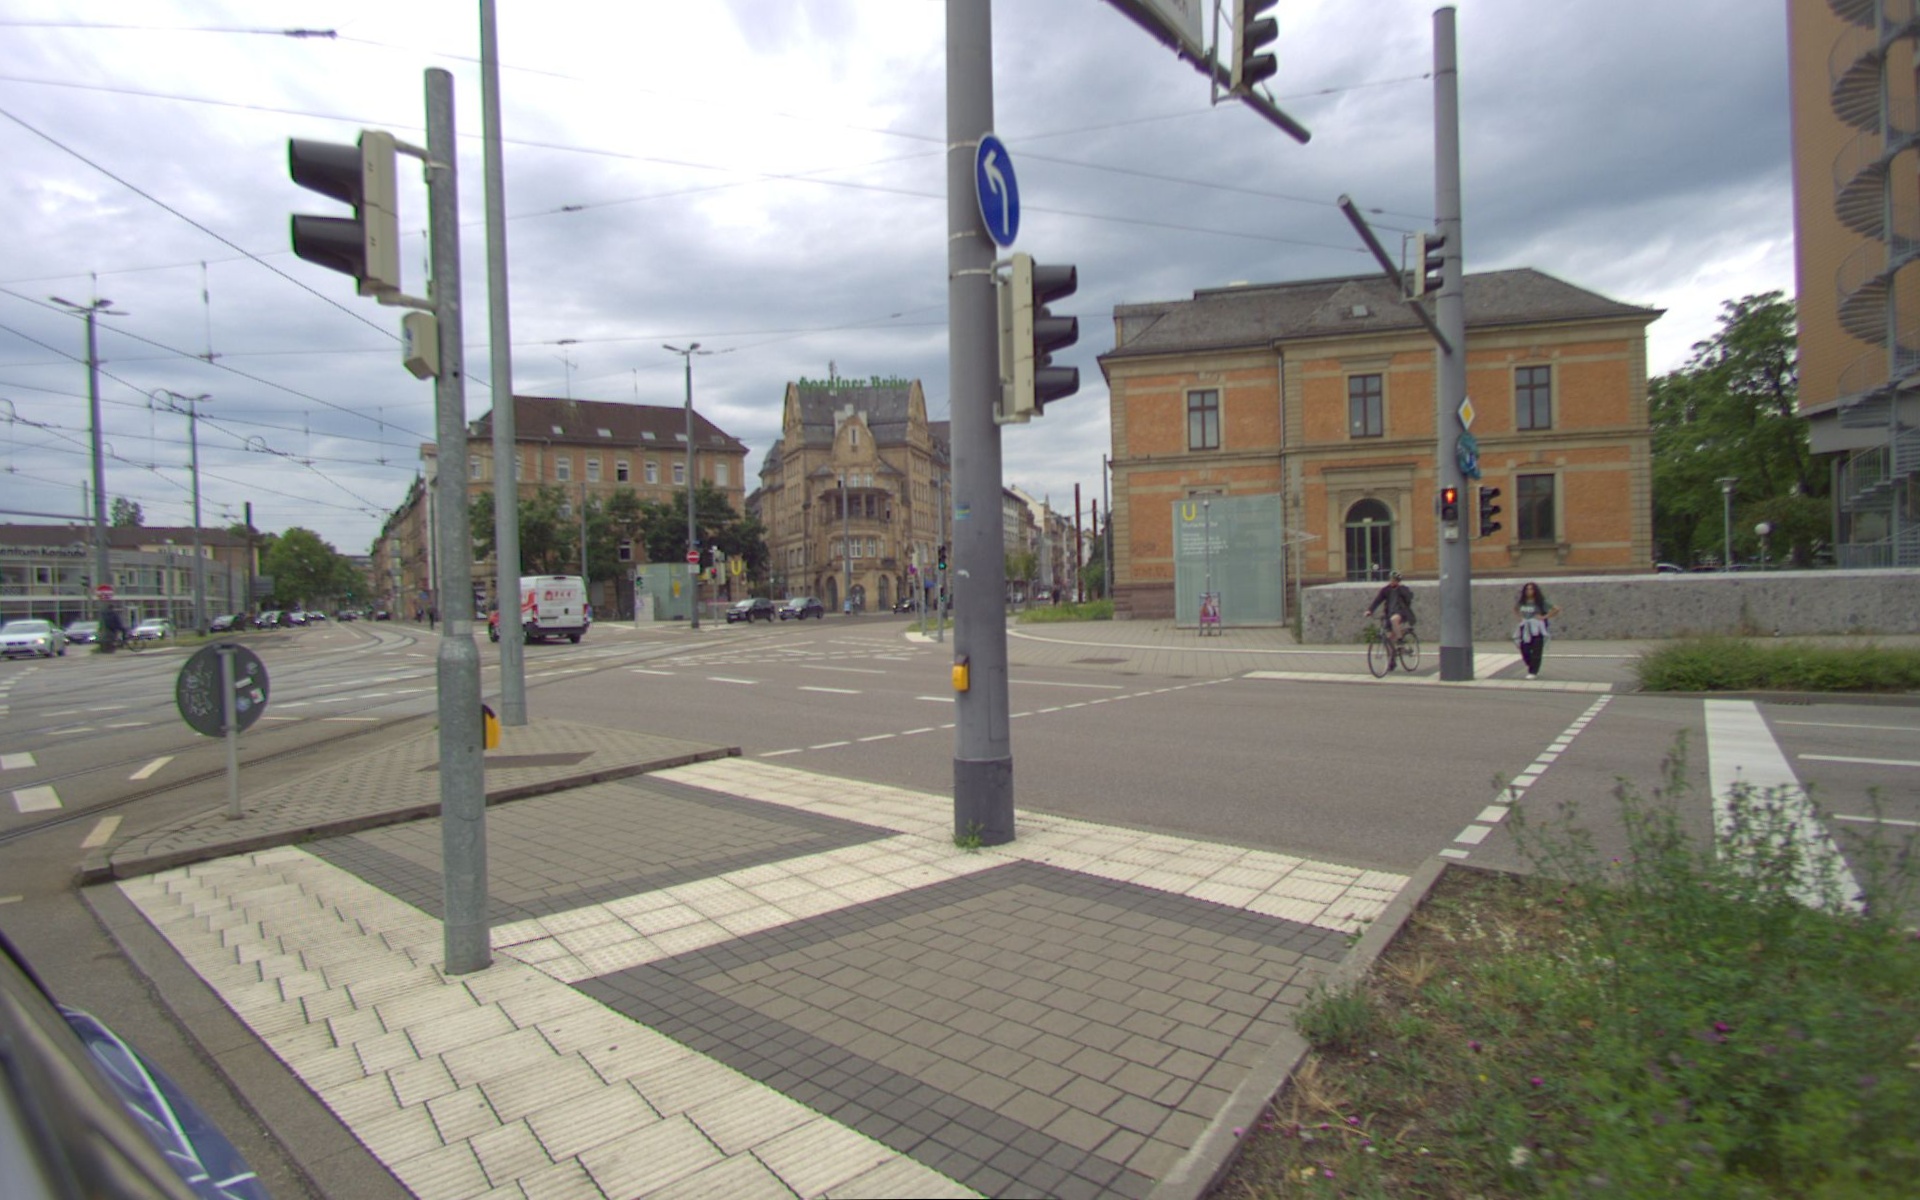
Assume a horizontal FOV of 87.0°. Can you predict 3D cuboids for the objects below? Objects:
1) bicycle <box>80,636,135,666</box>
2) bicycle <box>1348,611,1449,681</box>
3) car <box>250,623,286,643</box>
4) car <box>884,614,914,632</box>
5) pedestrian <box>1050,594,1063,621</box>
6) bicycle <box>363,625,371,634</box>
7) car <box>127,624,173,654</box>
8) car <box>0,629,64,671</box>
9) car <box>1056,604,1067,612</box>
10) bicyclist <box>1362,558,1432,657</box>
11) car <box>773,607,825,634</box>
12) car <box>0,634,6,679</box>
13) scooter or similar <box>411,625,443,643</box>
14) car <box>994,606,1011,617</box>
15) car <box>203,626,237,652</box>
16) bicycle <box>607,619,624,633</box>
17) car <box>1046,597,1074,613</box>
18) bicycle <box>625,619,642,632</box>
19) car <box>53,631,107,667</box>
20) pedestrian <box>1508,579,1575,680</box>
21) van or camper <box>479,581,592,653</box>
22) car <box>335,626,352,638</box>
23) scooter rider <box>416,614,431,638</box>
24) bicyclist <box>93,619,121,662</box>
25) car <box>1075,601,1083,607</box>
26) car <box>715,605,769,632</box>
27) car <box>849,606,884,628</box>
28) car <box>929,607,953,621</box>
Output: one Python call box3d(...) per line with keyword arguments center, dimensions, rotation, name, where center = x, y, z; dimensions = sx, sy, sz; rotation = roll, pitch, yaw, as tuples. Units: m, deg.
box3d(center=(-33.648, 2.011, 39.960), dimensions=(0.524, 1.078, 1.604), rotation=(-2, 0, 19), name="bicycle")
box3d(center=(7.752, 0.780, 17.845), dimensions=(2.088, 1.036, 0.796), rotation=(-4, 2, -42), name="bicycle")
box3d(center=(-66.739, 3.119, 97.677), dimensions=(2.333, 1.768, 5.145), rotation=(-2, 0, -29), name="car")
box3d(center=(-5.790, 2.164, 95.879), dimensions=(1.814, 1.477, 3.987), rotation=(-2, 0, 12), name="car")
box3d(center=(6.707, 0.500, 70.397), dimensions=(0.801, 1.846, 0.847), rotation=(-2, 0, 10), name="pedestrian")
box3d(center=(-88.013, 4.440, 150.158), dimensions=(0.786, 1.302, 2.417), rotation=(-1, 0, -33), name="bicycle")
box3d(center=(-58.306, 2.761, 72.908), dimensions=(1.966, 2.029, 4.012), rotation=(-2, 0, -31), name="car")
box3d(center=(-35.482, 1.857, 38.309), dimensions=(1.942, 1.467, 4.202), rotation=(-2, 0, -37), name="car")
box3d(center=(21.466, 1.637, 214.081), dimensions=(1.814, 1.477, 3.987), rotation=(-2, 0, 12), name="car")
box3d(center=(7.681, 0.129, 17.791), dimensions=(0.803, 1.669, 0.795), rotation=(-4, 2, -42), name="bicyclist")
box3d(center=(-11.790, 1.472, 74.428), dimensions=(2.140, 1.727, 4.906), rotation=(-4, 0, 12), name="car")
box3d(center=(-43.393, 2.543, 44.137), dimensions=(1.967, 2.029, 4.010), rotation=(-2, 0, -34), name="car")
box3d(center=(-37.015, 2.380, 70.324), dimensions=(1.875, 1.174, 0.575), rotation=(-2, 0, -35), name="scooter or similar")
box3d(center=(6.372, 1.736, 151.839), dimensions=(1.814, 1.477, 3.987), rotation=(-2, 0, 12), name="car")
box3d(center=(-63.735, 3.333, 87.204), dimensions=(1.966, 2.029, 4.012), rotation=(-2, 0, -31), name="car")
box3d(center=(-27.411, 2.073, 80.453), dimensions=(0.742, 1.038, 2.403), rotation=(-2, 0, -32), name="bicycle")
box3d(center=(9.803, 0.473, 98.884), dimensions=(1.982, 1.442, 3.979), rotation=(-2, 0, 16), name="car")
box3d(center=(-26.192, 2.040, 81.247), dimensions=(0.742, 1.038, 2.403), rotation=(-1, -1, -32), name="bicycle")
box3d(center=(-53.350, 2.921, 61.438), dimensions=(1.967, 2.029, 4.010), rotation=(-2, 0, -34), name="car")
box3d(center=(9.233, 0.460, 16.070), dimensions=(0.749, 1.563, 0.572), rotation=(-3, -1, 44), name="pedestrian")
box3d(center=(-16.204, 0.669, 38.436), dimensions=(2.251, 2.547, 5.580), rotation=(0, -1, -42), name="van or camper")
box3d(center=(-86.567, 4.487, 142.058), dimensions=(1.858, 1.481, 4.476), rotation=(-2, 0, -33), name="car")
box3d(center=(-37.200, 1.796, 70.171), dimensions=(0.808, 1.640, 0.571), rotation=(-2, 0, -35), name="scooter rider")
box3d(center=(-33.667, 1.590, 39.947), dimensions=(0.514, 1.651, 0.651), rotation=(-2, 0, 19), name="bicyclist")
box3d(center=(29.632, 1.008, 251.893), dimensions=(1.814, 1.477, 3.987), rotation=(-2, 0, 12), name="car")
box3d(center=(-14.584, 1.216, 68.061), dimensions=(1.979, 1.623, 4.229), rotation=(-2, 0, 12), name="car")
box3d(center=(-8.143, 1.486, 88.184), dimensions=(1.815, 1.773, 3.984), rotation=(-2, 0, 14), name="car")
box3d(center=(-2.119, 1.534, 113.736), dimensions=(1.814, 1.477, 3.987), rotation=(-2, 0, 12), name="car")
